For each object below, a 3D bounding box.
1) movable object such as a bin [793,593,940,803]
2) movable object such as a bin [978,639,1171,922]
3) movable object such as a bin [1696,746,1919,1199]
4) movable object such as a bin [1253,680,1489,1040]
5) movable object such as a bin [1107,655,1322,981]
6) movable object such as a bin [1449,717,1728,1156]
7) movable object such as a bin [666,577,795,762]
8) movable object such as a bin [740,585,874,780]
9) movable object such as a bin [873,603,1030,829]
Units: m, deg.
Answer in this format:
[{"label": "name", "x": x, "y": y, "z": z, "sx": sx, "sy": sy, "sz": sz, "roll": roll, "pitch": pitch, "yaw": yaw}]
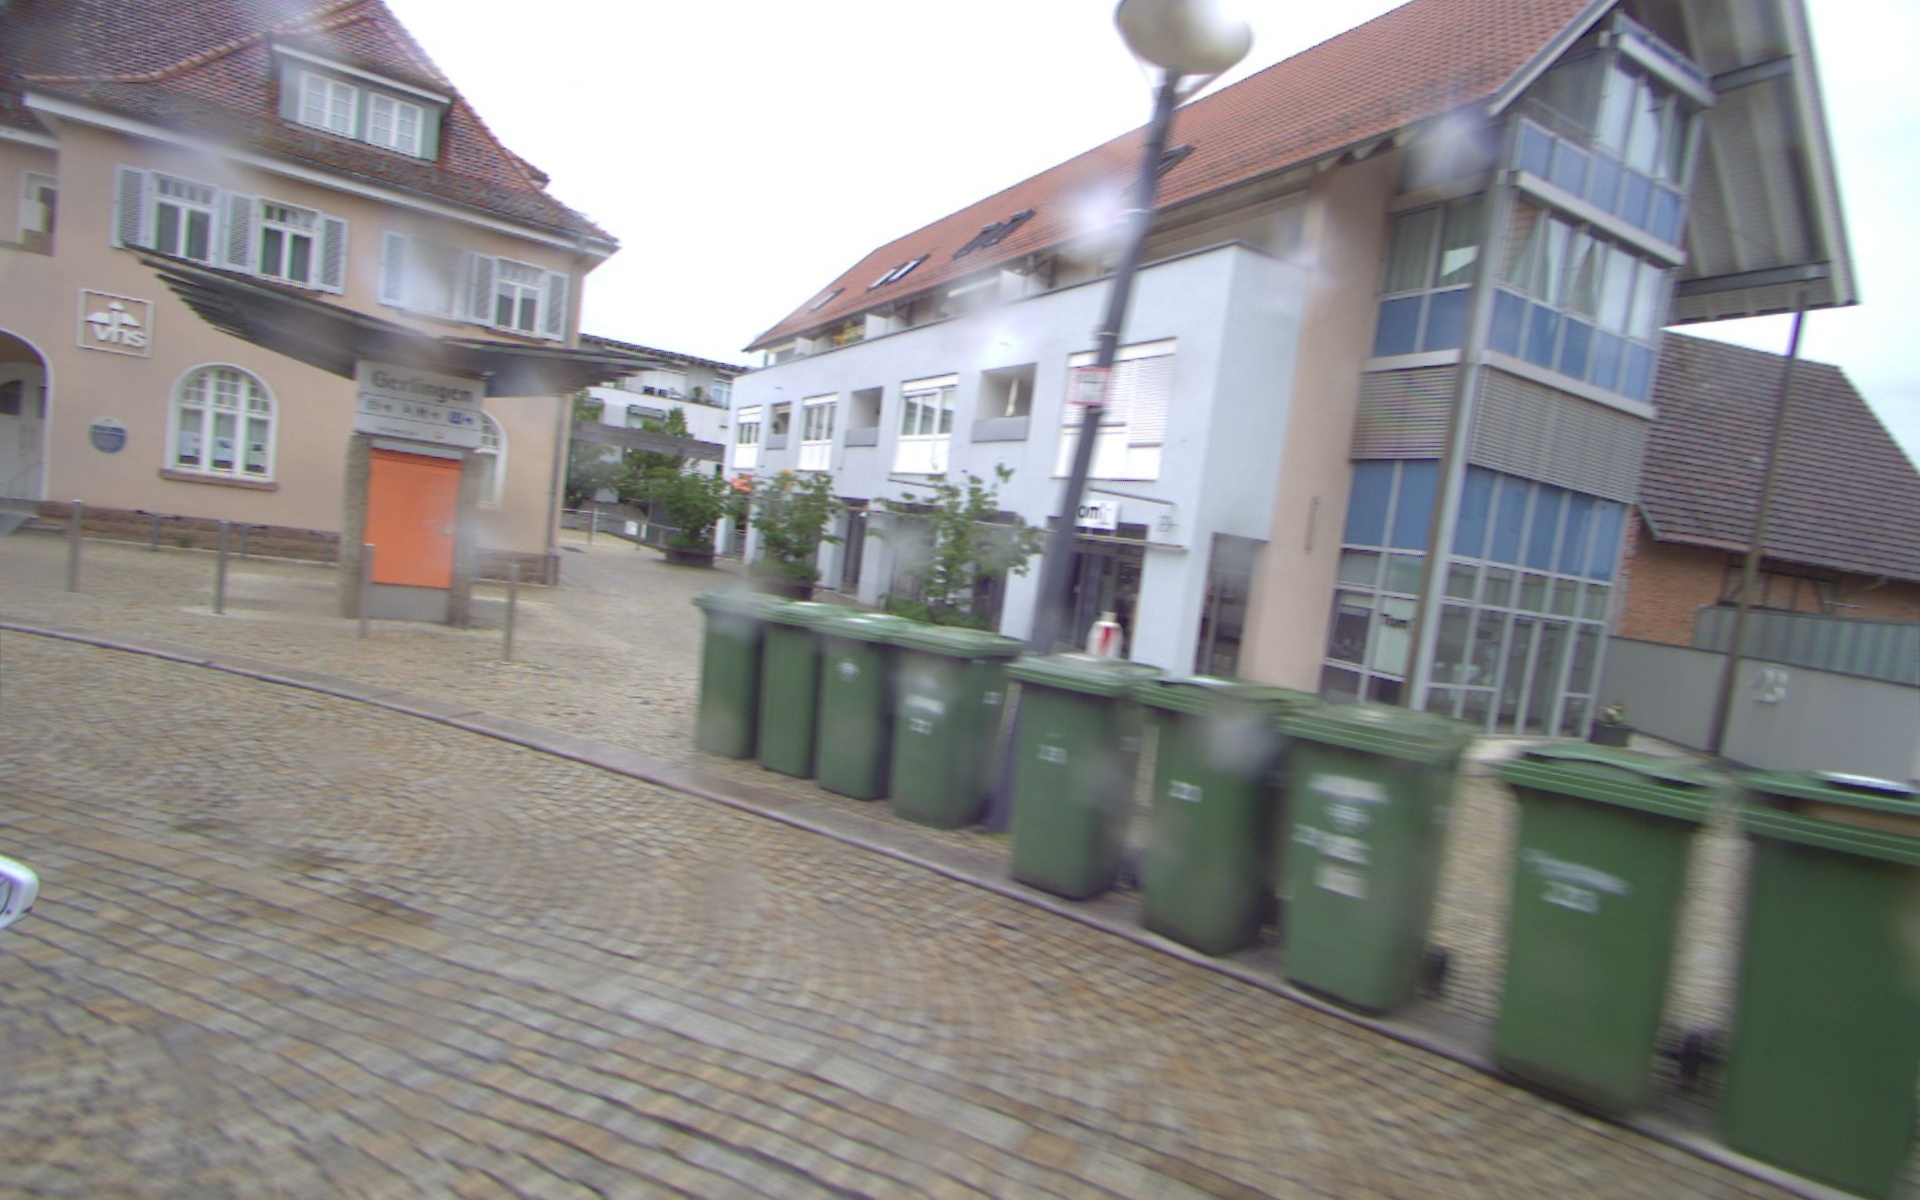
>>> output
[{"label": "movable object such as a bin", "x": -0.561, "y": 0.571, "z": 6.042, "sx": 0.543, "sy": 1.141, "sz": 0.558, "roll": 8, "pitch": 3, "yaw": 42}, {"label": "movable object such as a bin", "x": 0.527, "y": 0.786, "z": 4.627, "sx": 0.543, "sy": 1.141, "sz": 0.558, "roll": 8, "pitch": 3, "yaw": 42}, {"label": "movable object such as a bin", "x": 2.545, "y": 1.055, "z": 2.911, "sx": 0.542, "sy": 1.141, "sz": 0.559, "roll": 8, "pitch": 3, "yaw": 37}, {"label": "movable object such as a bin", "x": 1.530, "y": 0.905, "z": 3.747, "sx": 0.534, "sy": 1.141, "sz": 0.558, "roll": 8, "pitch": 3, "yaw": 42}, {"label": "movable object such as a bin", "x": 1.057, "y": 0.851, "z": 4.178, "sx": 0.543, "sy": 1.175, "sz": 0.558, "roll": 8, "pitch": 3, "yaw": 42}, {"label": "movable object such as a bin", "x": 2.002, "y": 0.992, "z": 3.206, "sx": 0.543, "sy": 1.141, "sz": 0.558, "roll": 8, "pitch": 3, "yaw": 42}, {"label": "movable object such as a bin", "x": -1.548, "y": 0.456, "z": 6.797, "sx": 0.531, "sy": 1.141, "sz": 0.537, "roll": 8, "pitch": 3, "yaw": 32}, {"label": "movable object such as a bin", "x": -0.979, "y": 0.516, "z": 6.446, "sx": 0.532, "sy": 1.141, "sz": 0.535, "roll": 8, "pitch": 3, "yaw": 42}, {"label": "movable object such as a bin", "x": -0.048, "y": 0.626, "z": 5.646, "sx": 0.543, "sy": 1.141, "sz": 0.558, "roll": 8, "pitch": 3, "yaw": 42}]
